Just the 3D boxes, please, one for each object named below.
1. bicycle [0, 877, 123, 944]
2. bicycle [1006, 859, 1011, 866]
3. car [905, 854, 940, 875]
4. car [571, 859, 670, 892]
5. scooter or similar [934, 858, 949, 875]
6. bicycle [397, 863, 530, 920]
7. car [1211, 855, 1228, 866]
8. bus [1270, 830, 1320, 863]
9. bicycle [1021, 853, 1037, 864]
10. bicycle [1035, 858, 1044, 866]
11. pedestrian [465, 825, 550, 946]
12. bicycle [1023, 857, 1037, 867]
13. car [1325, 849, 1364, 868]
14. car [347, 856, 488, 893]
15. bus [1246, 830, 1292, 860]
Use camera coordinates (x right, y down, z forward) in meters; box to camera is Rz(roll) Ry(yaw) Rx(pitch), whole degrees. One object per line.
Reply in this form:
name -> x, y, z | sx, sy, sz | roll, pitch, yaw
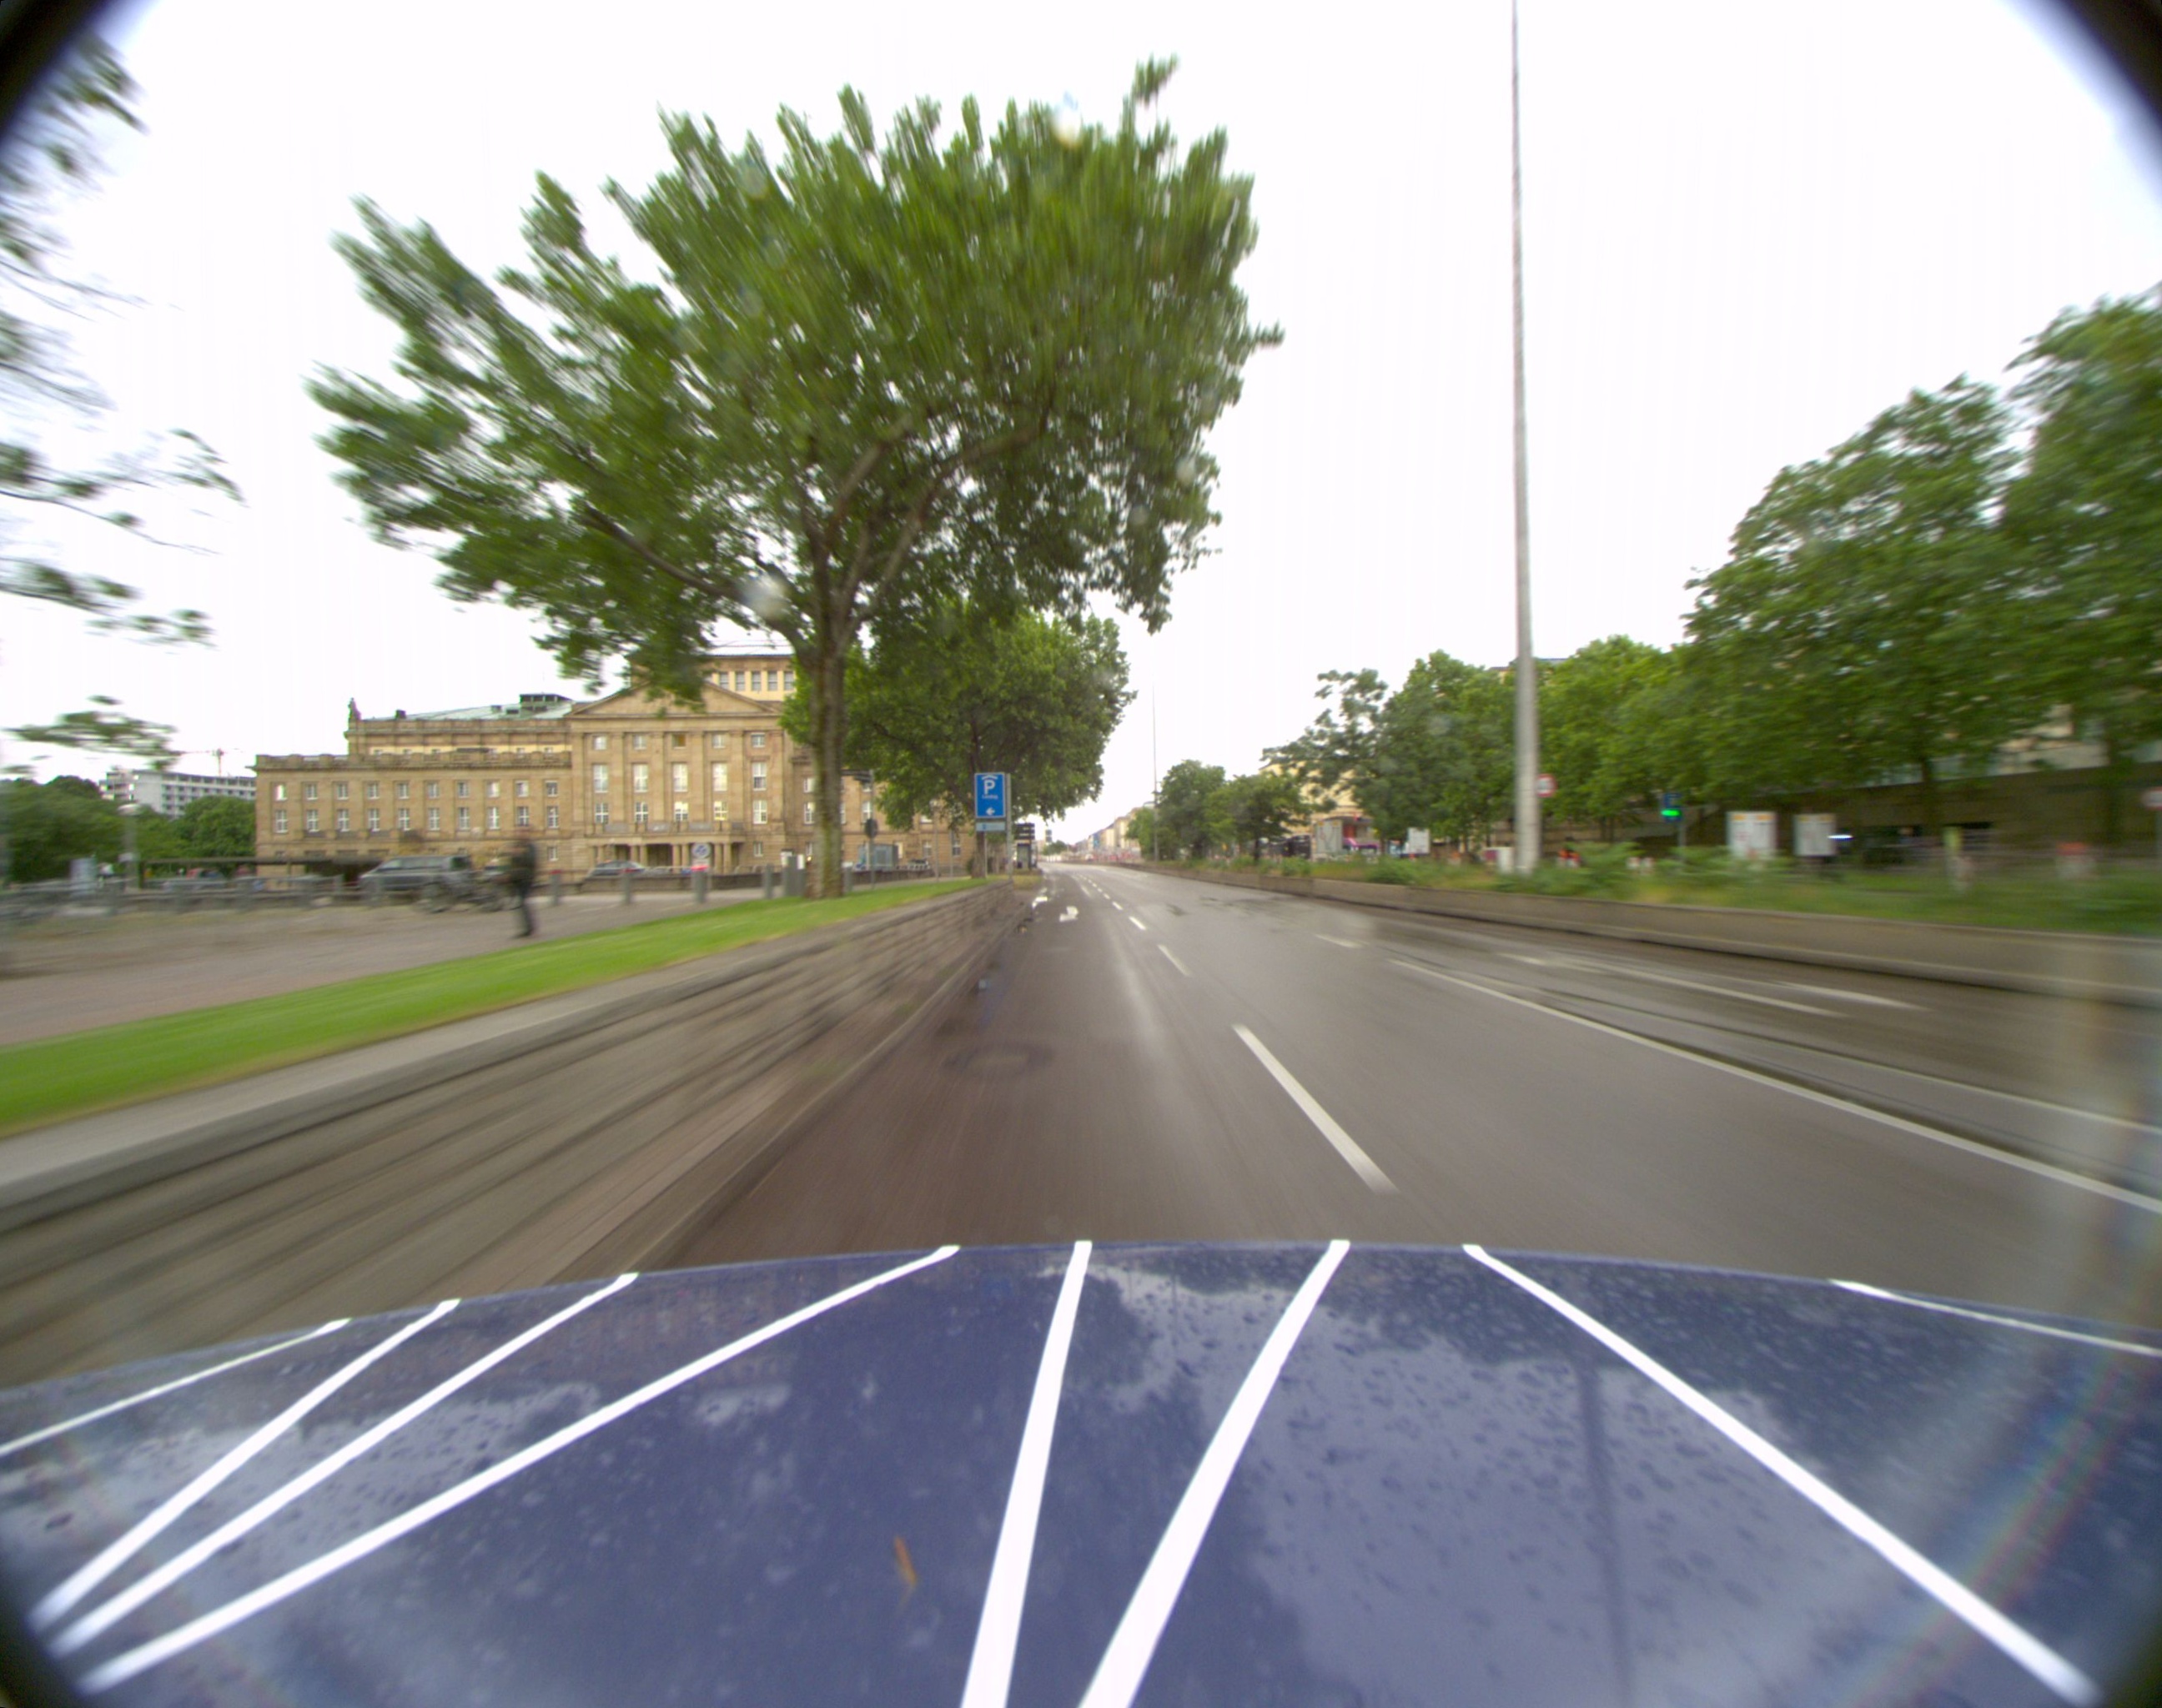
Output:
bicycle -> -17.665, 0.952, 12.939 | 1.646, 1.079, 0.709 | -1, 0, -7
bicycle -> -11.765, 1.314, 123.105 | 0.714, 1.045, 1.739 | -2, 1, -8
car -> -12.664, 0.856, 60.891 | 1.999, 1.600, 5.235 | -2, -1, -4
car -> -23.404, 1.074, 38.700 | 3.997, 1.590, 1.656 | 0, 0, 0
scooter or similar -> -10.472, 0.921, 56.863 | 0.544, 1.248, 1.433 | -1, 0, -34
bicycle -> -13.515, 0.792, 16.712 | 2.041, 1.167, 0.959 | -1, 0, -12
car -> 21.273, 0.969, 116.682 | 1.596, 1.492, 3.212 | -2, 1, -6
bus -> 29.918, -0.979, 107.189 | 3.127, 4.227, 13.493 | -3, 0, 0
bicycle -> -6.395, 0.553, 94.346 | 1.911, 1.325, 0.650 | -2, 1, -1
bicycle -> -5.097, 0.958, 92.607 | 0.670, 0.962, 1.638 | -2, 1, 12
pedestrian -> -8.439, 0.452, 11.207 | 0.707, 1.708, 0.692 | -1, 0, -1
bicycle -> -6.444, 1.008, 95.146 | 1.683, 1.084, 0.650 | -2, 1, -1
car -> 23.243, 0.375, 67.249 | 1.999, 1.521, 3.999 | 0, 1, -1
car -> -34.757, 1.035, 39.960 | 5.021, 1.753, 2.459 | -1, 0, -5
bus -> 26.194, -1.205, 106.595 | 2.811, 3.789, 14.596 | -3, 0, 0
